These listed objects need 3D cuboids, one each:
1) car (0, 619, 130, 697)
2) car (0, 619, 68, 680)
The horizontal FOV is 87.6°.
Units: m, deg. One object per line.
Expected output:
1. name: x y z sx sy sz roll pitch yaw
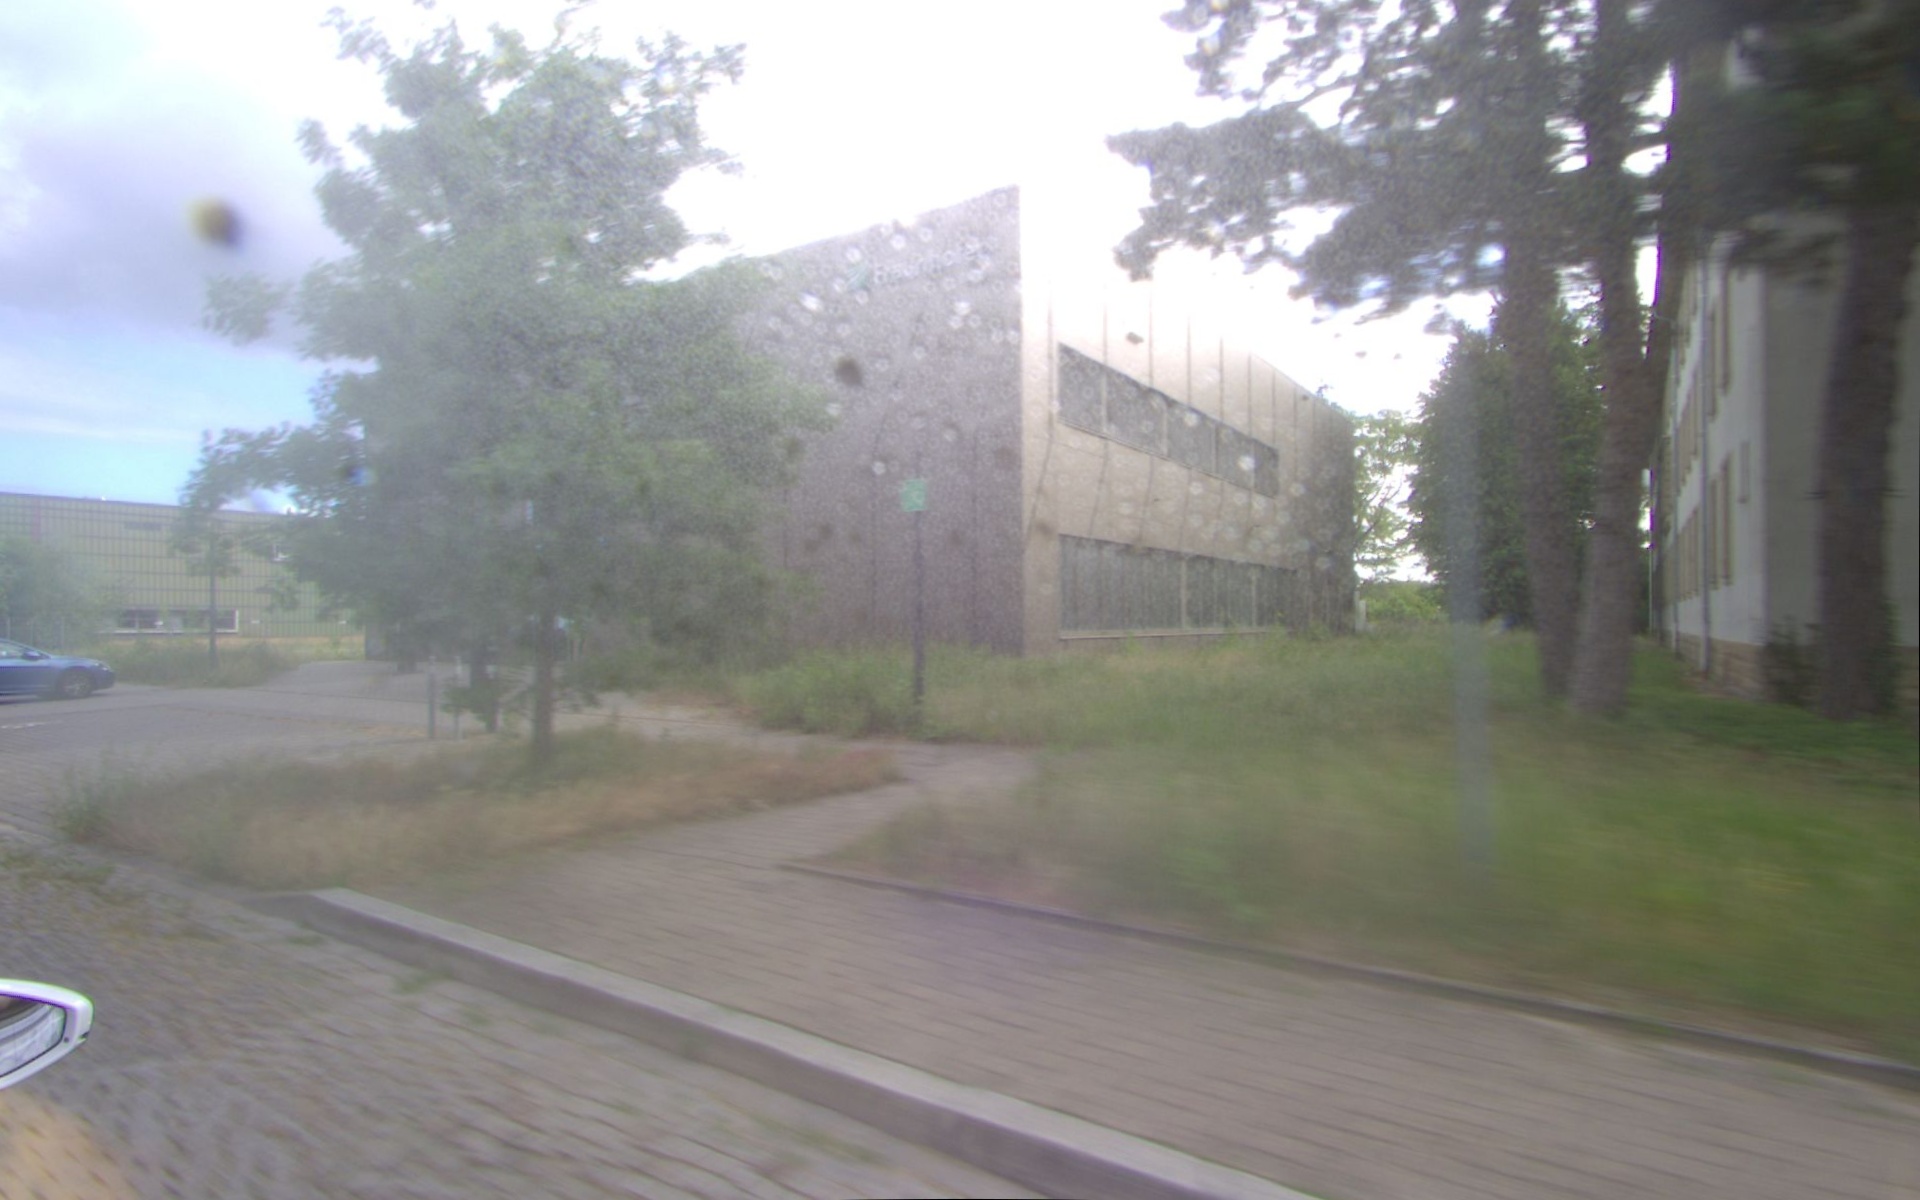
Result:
1. car: -20.747 1.237 21.188 1.971 1.552 4.510 -1 0 31
2. car: -26.323 1.321 25.904 1.973 1.552 4.505 -1 0 34
